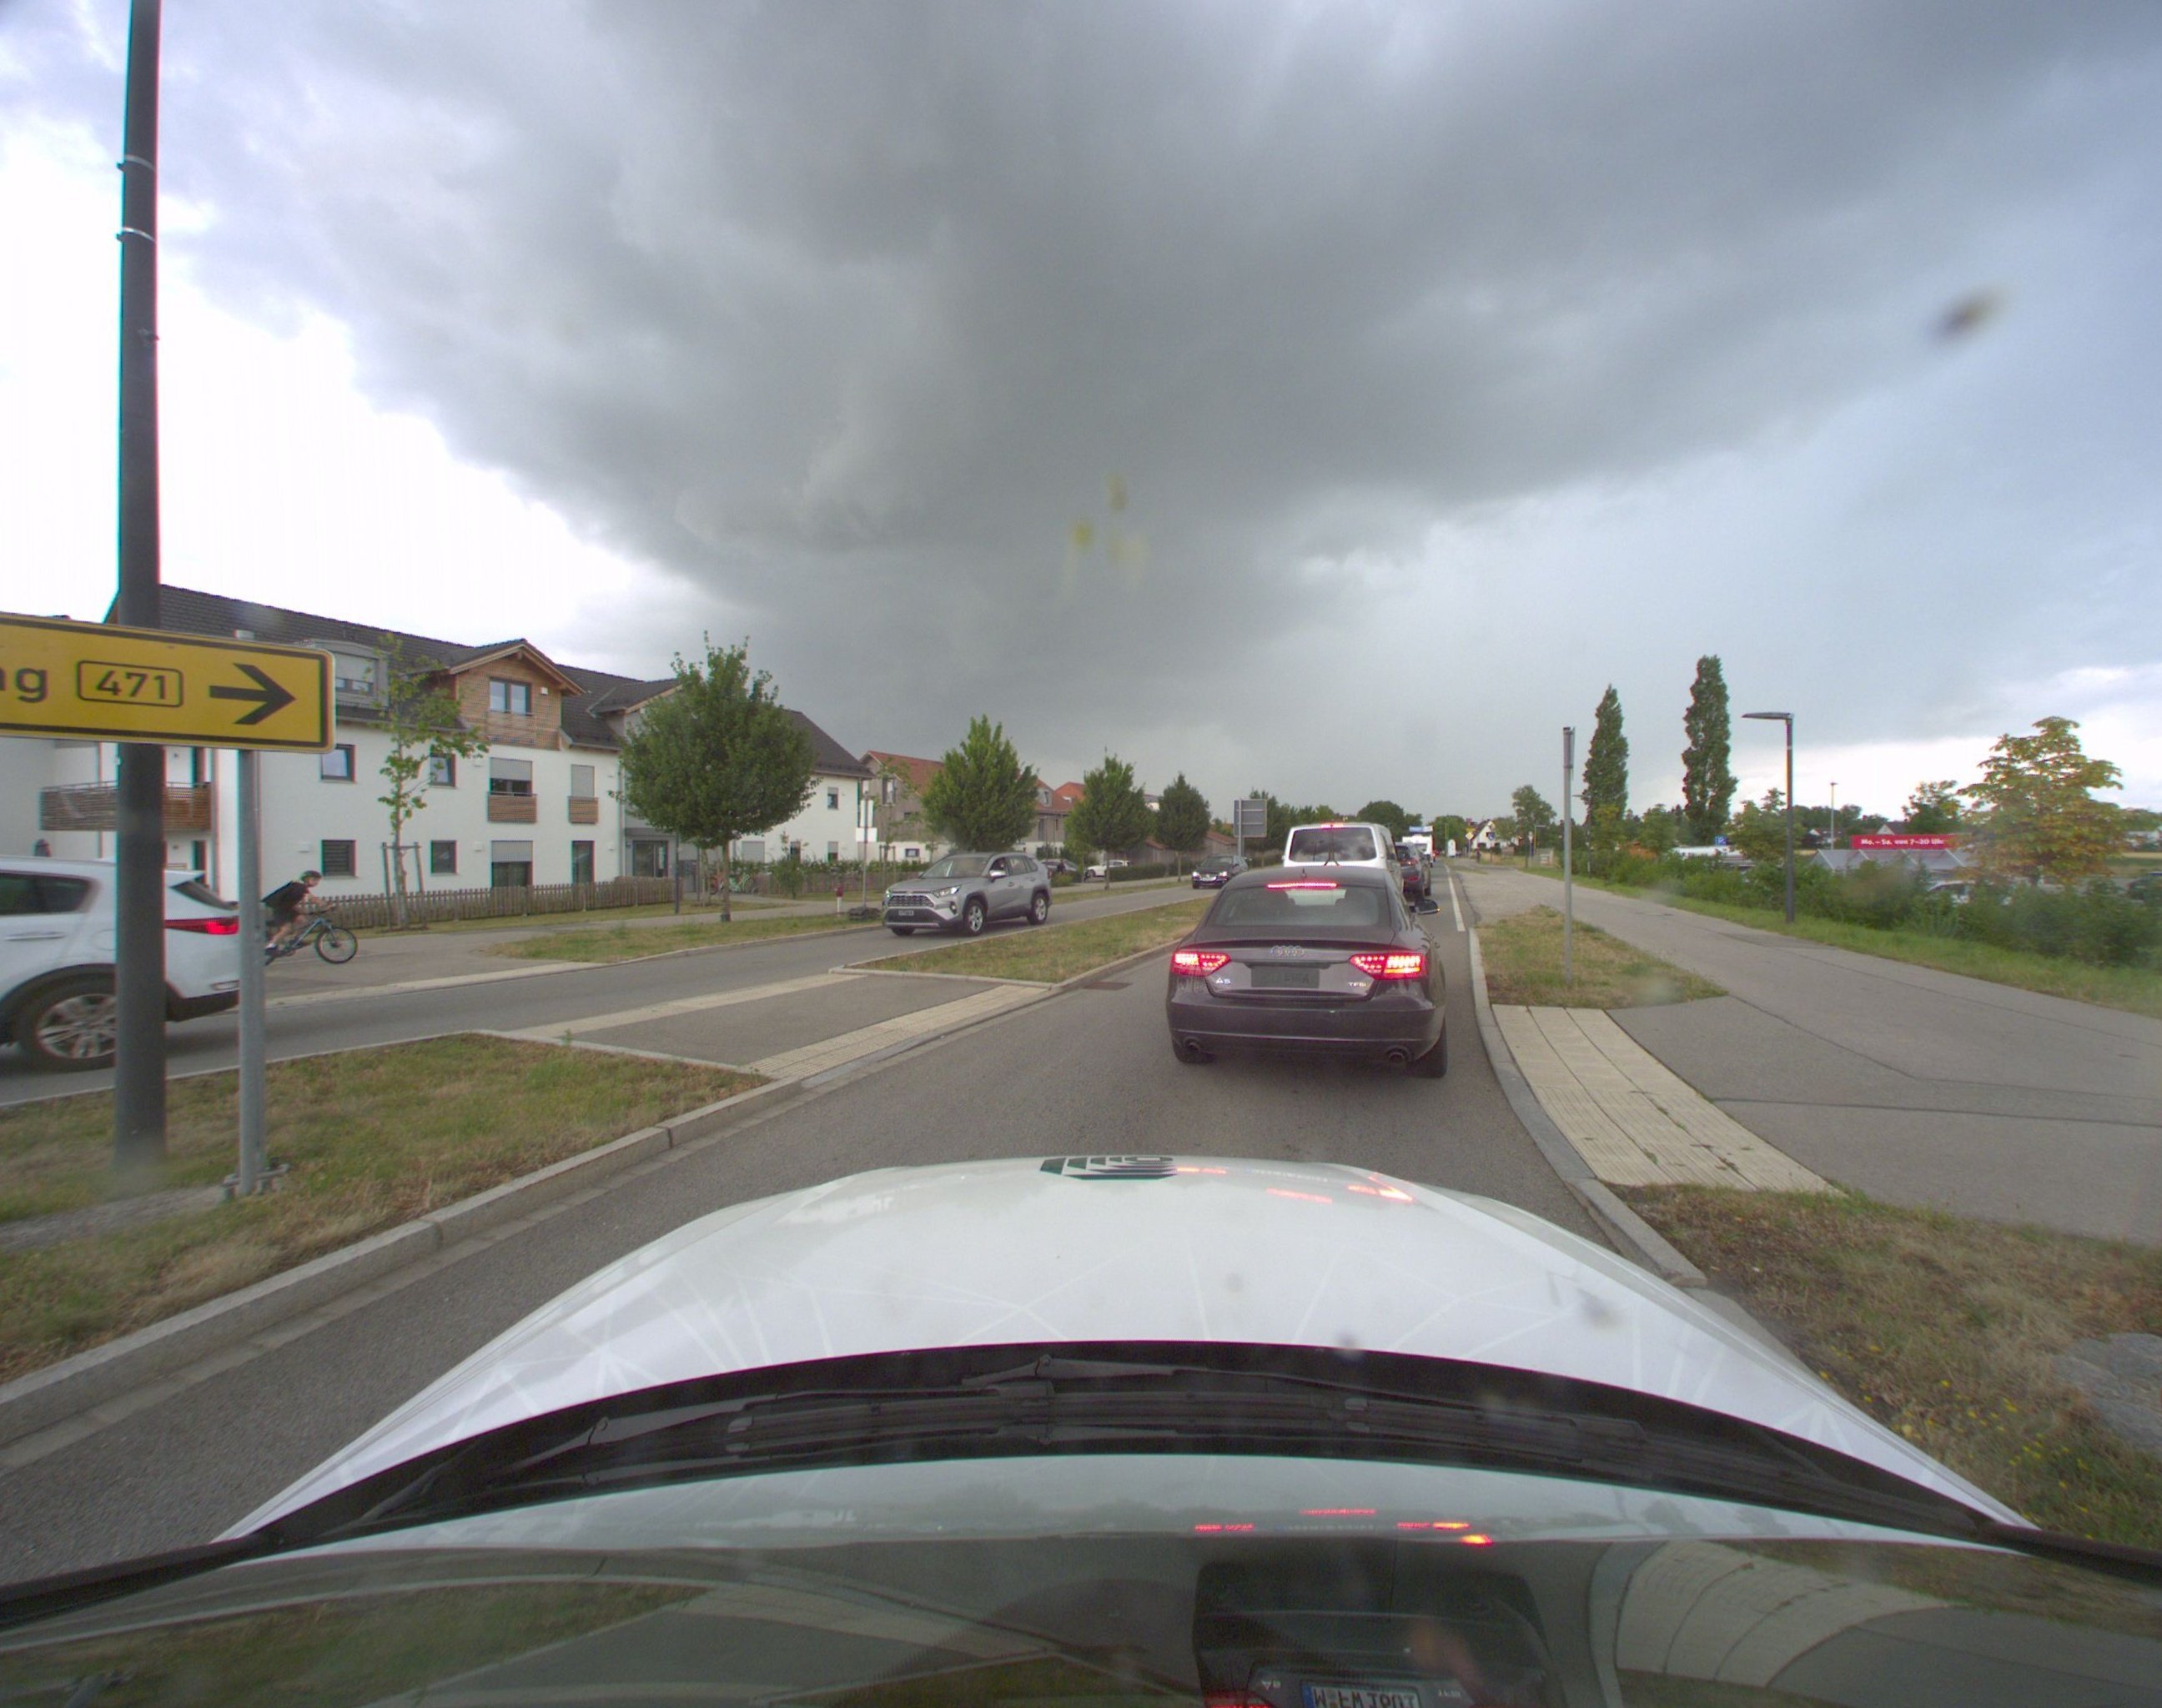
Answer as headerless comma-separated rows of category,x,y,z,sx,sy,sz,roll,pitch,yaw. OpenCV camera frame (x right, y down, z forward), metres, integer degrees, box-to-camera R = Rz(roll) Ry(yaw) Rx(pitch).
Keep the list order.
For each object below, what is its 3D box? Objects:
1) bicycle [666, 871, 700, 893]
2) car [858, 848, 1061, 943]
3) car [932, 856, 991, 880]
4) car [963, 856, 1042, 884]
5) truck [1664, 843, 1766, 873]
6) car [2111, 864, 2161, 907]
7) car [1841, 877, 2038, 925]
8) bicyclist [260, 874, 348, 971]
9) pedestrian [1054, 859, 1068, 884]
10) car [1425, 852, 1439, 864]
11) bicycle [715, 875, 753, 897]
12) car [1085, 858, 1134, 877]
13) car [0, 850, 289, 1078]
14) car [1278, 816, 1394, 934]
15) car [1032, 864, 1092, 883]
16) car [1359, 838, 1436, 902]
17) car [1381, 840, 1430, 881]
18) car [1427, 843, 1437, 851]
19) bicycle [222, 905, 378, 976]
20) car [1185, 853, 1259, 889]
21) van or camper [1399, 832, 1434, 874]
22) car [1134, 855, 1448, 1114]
bicycle,-16.991,1.184,34.752,0.364,0.843,1.345,3,1,26
car,-2.355,0.748,17.162,1.975,1.704,4.661,-1,0,25
car,-8.795,1.006,60.337,1.975,1.772,4.493,0,0,29
car,-4.881,0.971,50.696,4.488,1.680,2.012,0,0,27
truck,40.526,0.223,52.193,4.756,1.872,2.010,0,0,19
car,44.275,1.234,31.853,4.516,1.664,2.011,0,0,24
car,29.127,1.556,27.841,4.195,1.440,2.011,0,0,24
bicyclist,-12.441,1.064,13.049,0.715,1.446,0.875,-2,0,36
pedestrian,-1.268,1.124,52.077,0.651,1.559,0.587,0,0,27
car,46.453,0.538,107.832,1.599,1.630,3.636,0,0,25
bicycle,-14.291,1.312,33.606,0.364,0.843,1.556,3,1,26
car,2.344,1.107,67.241,3.698,1.482,1.695,0,0,21
car,-8.862,0.815,5.757,1.692,1.626,4.479,-2,-1,37
car,4.964,0.341,15.511,1.851,1.934,4.021,0,0,21
car,-1.362,1.383,58.413,3.881,1.315,1.852,0,0,21
car,9.255,0.442,23.658,1.760,1.618,4.023,-5,-2,24
car,13.904,0.271,34.766,1.760,1.618,4.022,-1,-1,24
car,89.362,-1.795,207.045,1.975,2.211,4.024,0,0,28
bicycle,-12.425,1.347,13.017,0.491,0.946,1.725,-2,0,35
car,6.249,0.698,35.632,1.737,1.416,4.483,0,0,30
van or camper,28.278,-0.054,68.435,2.601,3.323,6.859,0,-1,23
car,1.939,0.741,6.727,1.768,1.391,4.154,-2,0,22
